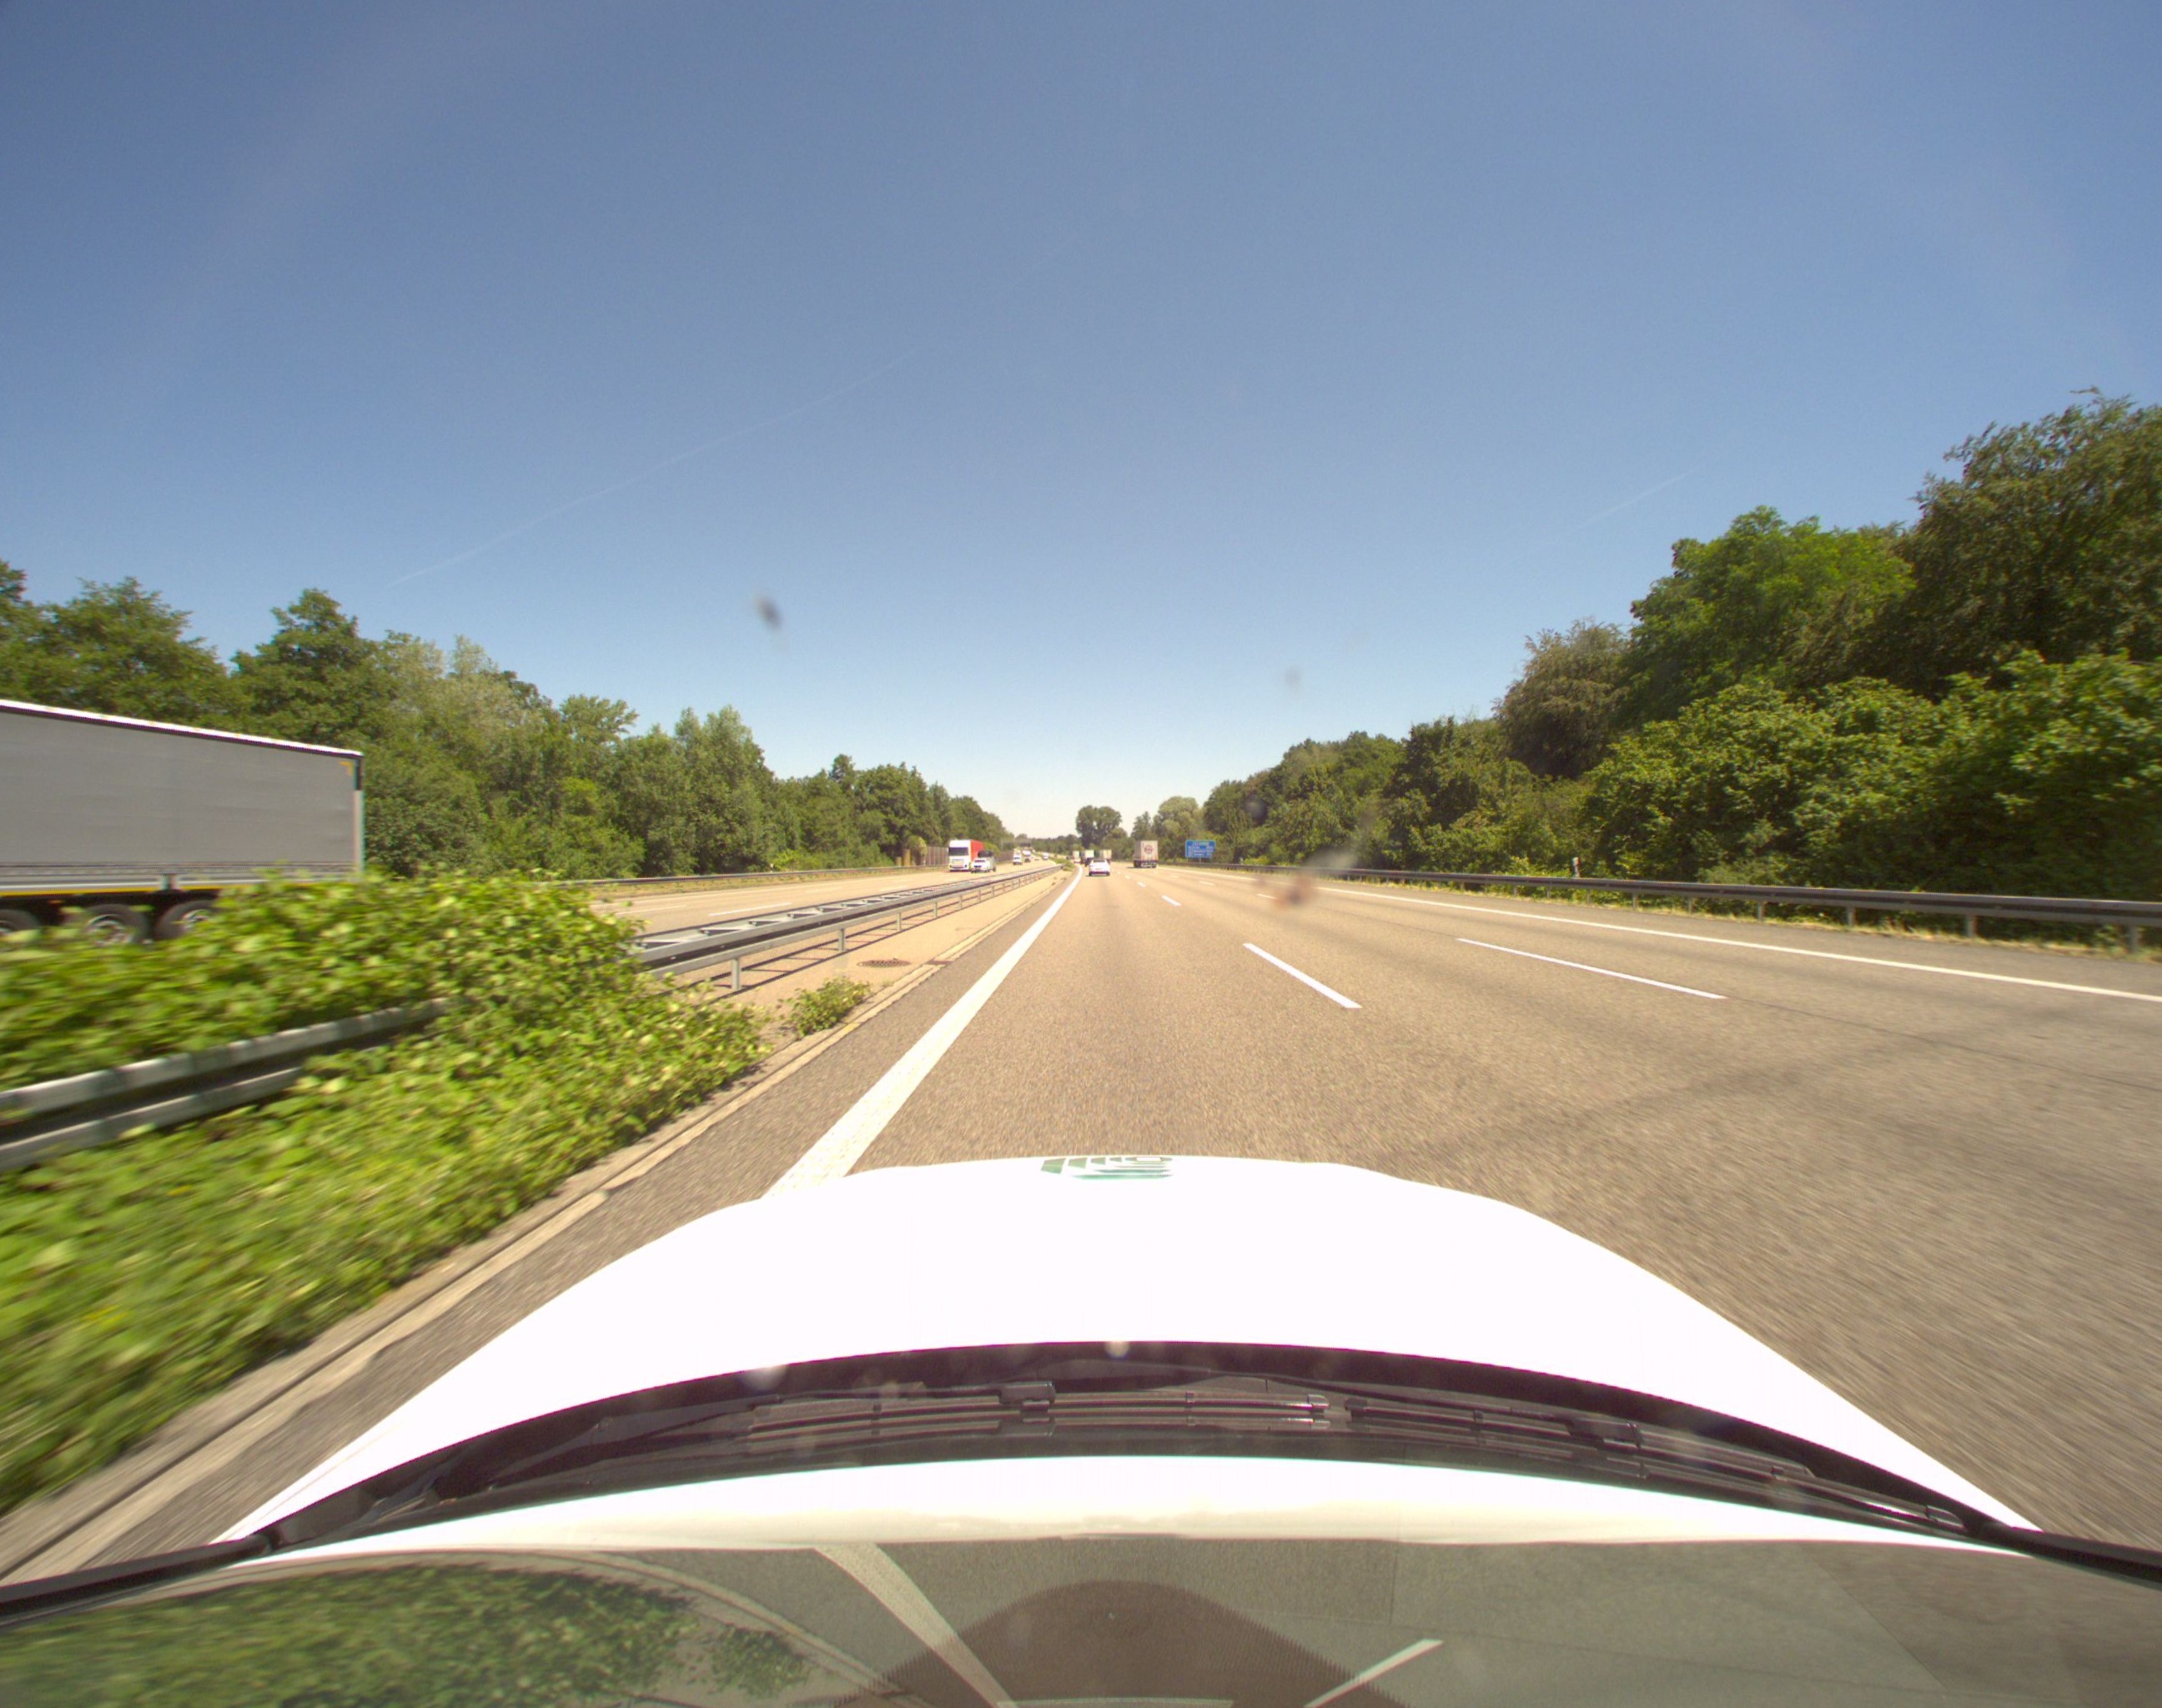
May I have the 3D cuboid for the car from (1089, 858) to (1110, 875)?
[{"bbox_3d":[1.625,1.073,71.085,1.709,1.369,3.376,-1,0,2],"label":"car"}]

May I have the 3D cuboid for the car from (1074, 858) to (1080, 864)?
[{"bbox_3d":[-1.209,2.310,253.703,1.720,1.783,3.995,-1,0,-3],"label":"car"}]

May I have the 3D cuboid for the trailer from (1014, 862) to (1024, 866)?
[{"bbox_3d":[-16.700,2.701,218.496,2.160,0.807,6.263,-1,0,-8],"label":"trailer"}]

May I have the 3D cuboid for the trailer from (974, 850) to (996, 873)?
[{"bbox_3d":[-11.327,0.890,96.210,2.079,2.613,4.954,-1,0,-1],"label":"trailer"}]

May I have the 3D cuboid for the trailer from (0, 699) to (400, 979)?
[{"bbox_3d":[-16.642,-0.204,11.317,2.661,3.966,13.665,-1,0,1],"label":"trailer"}]

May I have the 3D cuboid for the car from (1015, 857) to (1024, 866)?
[{"bbox_3d":[-16.115,1.925,212.628,2.022,2.431,5.399,-1,0,-7],"label":"car"}]

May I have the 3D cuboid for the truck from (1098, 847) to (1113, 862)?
[{"bbox_3d":[7.217,0.182,243.798,3.486,4.311,10.971,-1,0,-4],"label":"truck"}]

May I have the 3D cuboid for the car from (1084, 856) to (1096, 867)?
[{"bbox_3d":[1.622,1.350,147.985,1.989,1.772,3.996,-1,0,-3],"label":"car"}]

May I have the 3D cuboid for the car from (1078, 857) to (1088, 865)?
[{"bbox_3d":[0.447,1.791,203.554,1.990,2.013,3.993,-1,0,-5],"label":"car"}]

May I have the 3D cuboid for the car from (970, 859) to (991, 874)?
[{"bbox_3d":[-11.293,1.340,91.704,1.830,1.632,4.018,-1,0,0],"label":"car"}]

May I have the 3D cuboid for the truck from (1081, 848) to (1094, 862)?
[{"bbox_3d":[2.013,0.399,255.963,3.353,4.311,10.814,-1,0,-4],"label":"truck"}]

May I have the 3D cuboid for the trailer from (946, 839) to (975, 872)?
[{"bbox_3d":[-15.253,0.252,103.632,2.680,4.042,6.036,-1,0,0],"label":"trailer"}]

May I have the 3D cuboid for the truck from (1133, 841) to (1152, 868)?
[{"bbox_3d":[9.853,0.067,130.435,2.597,4.287,5.435,-1,0,0],"label":"truck"}]

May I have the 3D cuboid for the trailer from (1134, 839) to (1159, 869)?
[{"bbox_3d":[9.831,0.071,123.392,2.615,4.261,14.058,-1,0,0],"label":"trailer"}]
